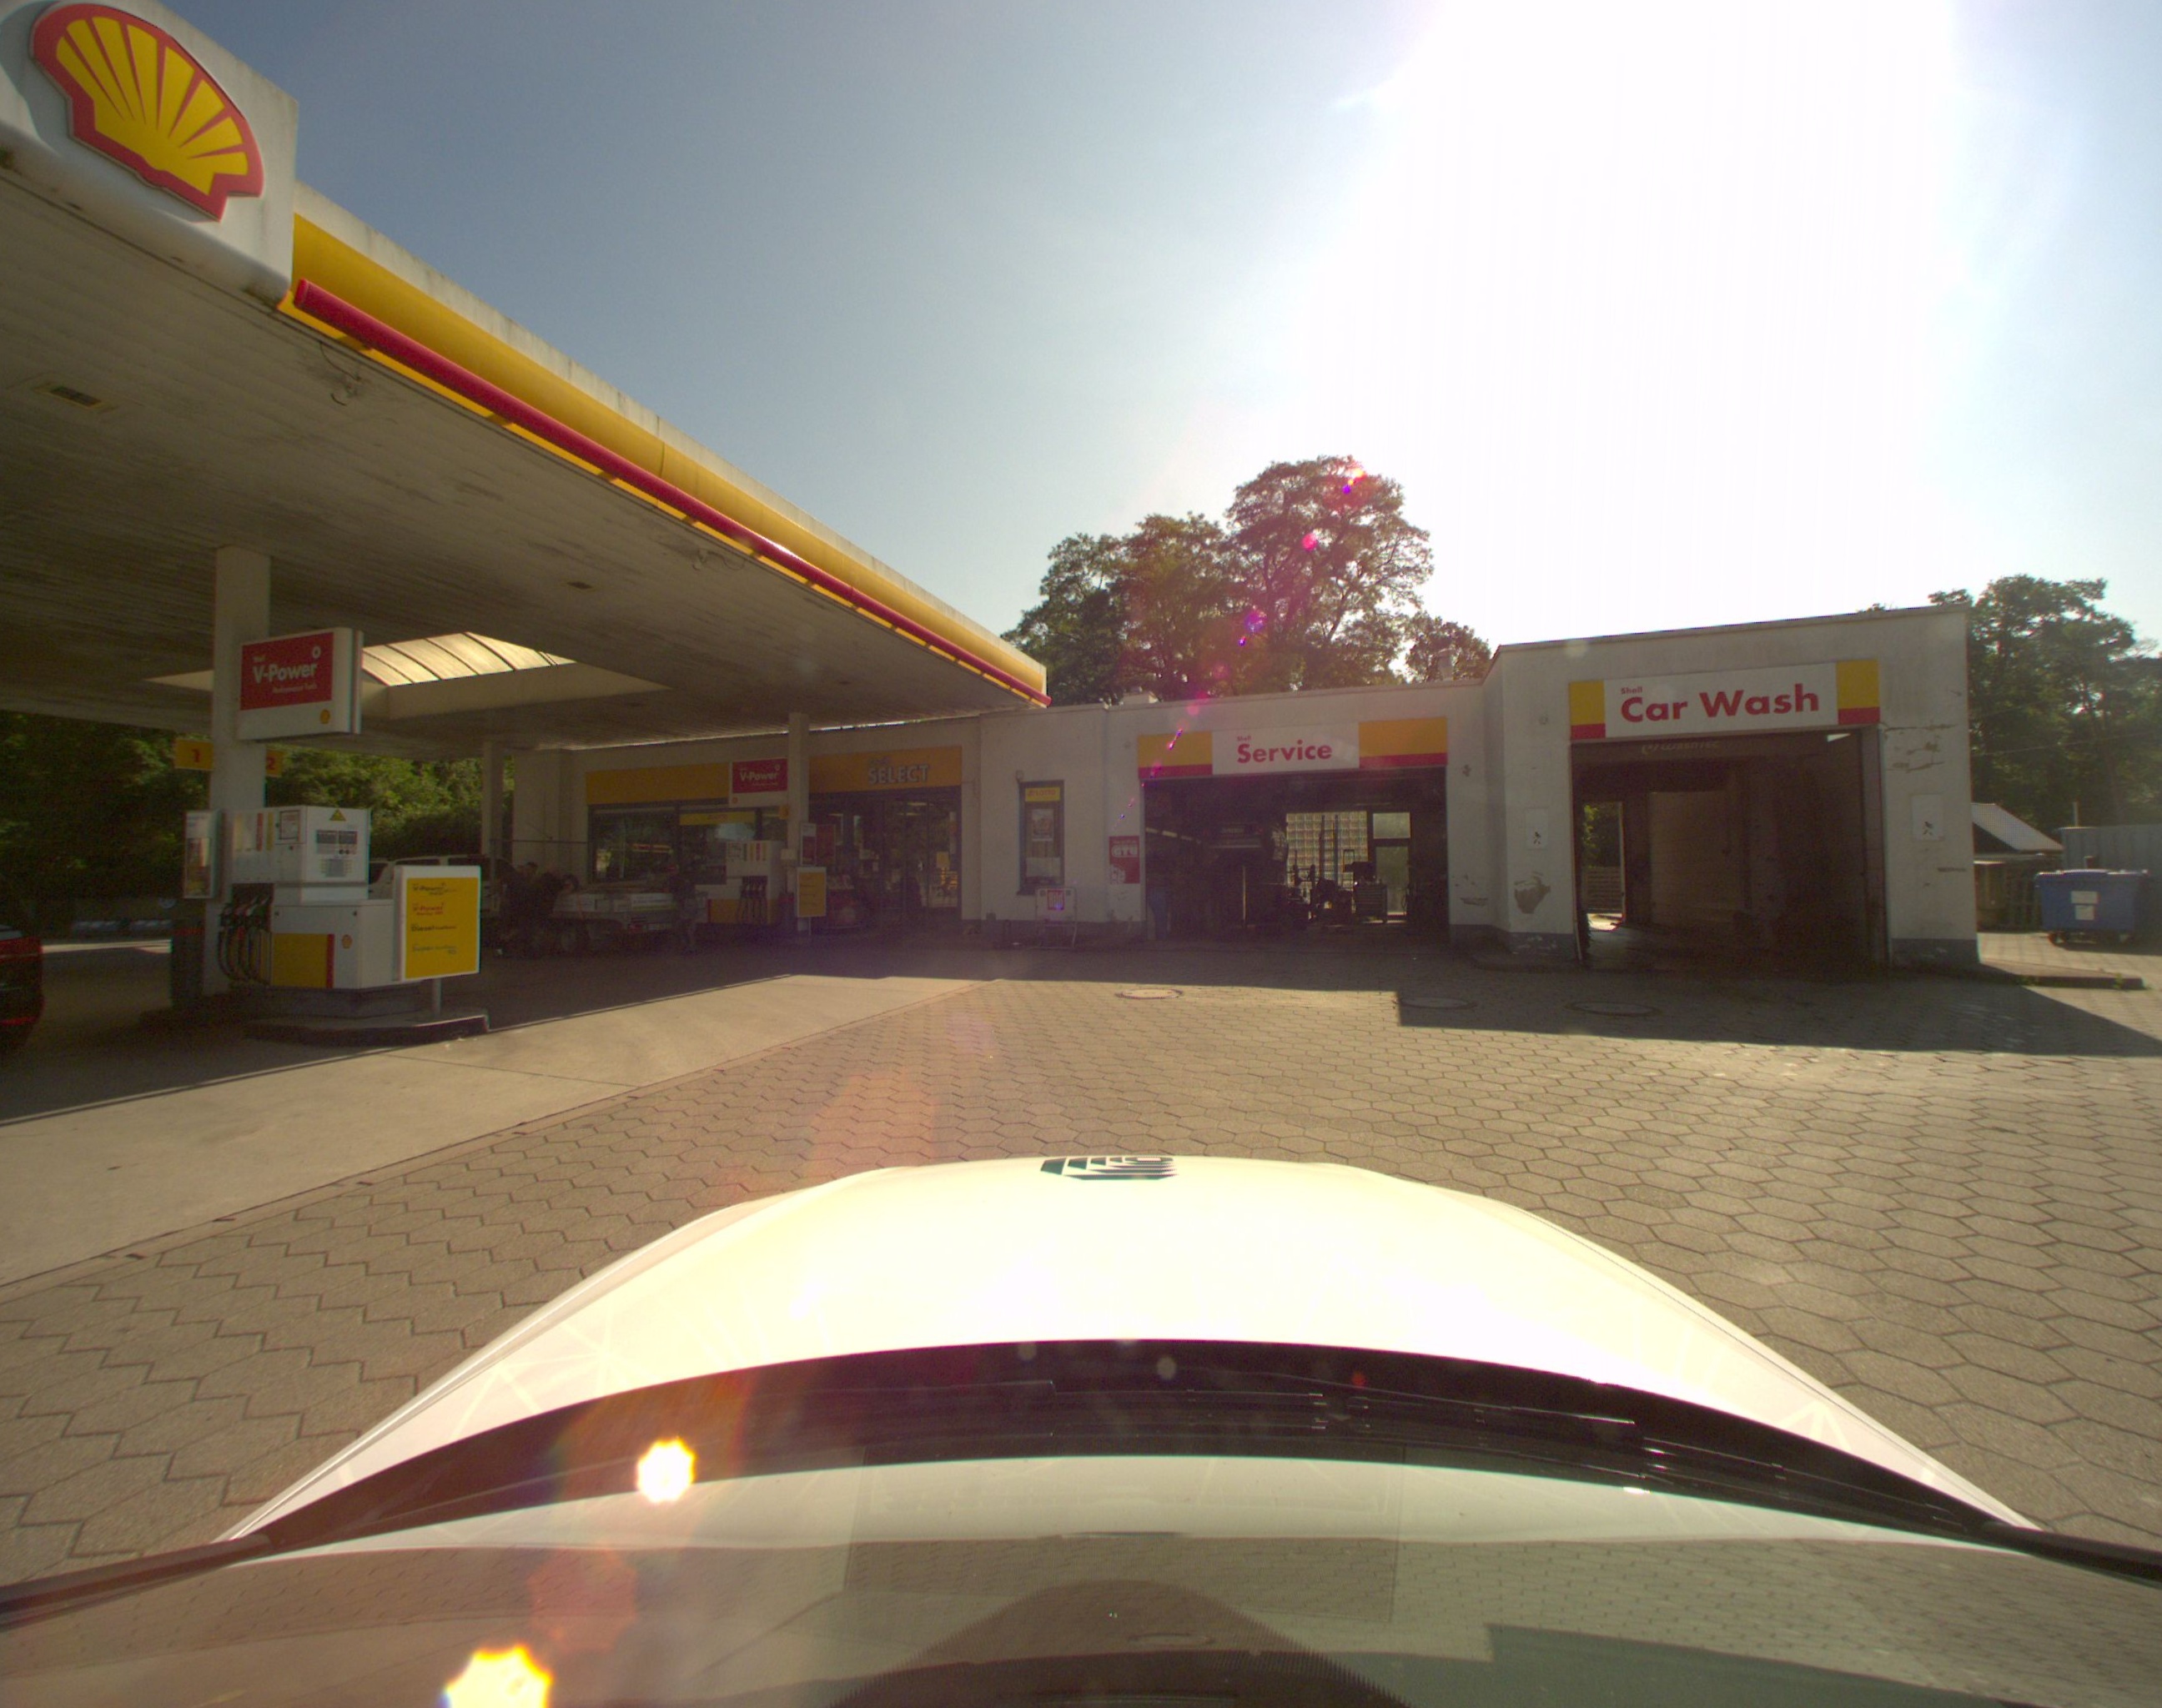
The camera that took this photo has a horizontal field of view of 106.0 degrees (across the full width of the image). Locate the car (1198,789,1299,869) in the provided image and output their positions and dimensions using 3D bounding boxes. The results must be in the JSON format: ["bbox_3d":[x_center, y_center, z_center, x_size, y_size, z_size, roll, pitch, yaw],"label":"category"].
[{"bbox_3d":[4.030,-0.484,19.127,1.632,1.486,4.020,-2,-4,21],"label":"car"}]

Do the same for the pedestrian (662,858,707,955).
[{"bbox_3d":[-6.985,0.917,14.359,0.495,1.668,0.478,-1,-2,20],"label":"pedestrian"}]

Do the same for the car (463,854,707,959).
[{"bbox_3d":[-9.116,0.944,14.985,3.952,1.728,1.843,-2,-2,23],"label":"car"}]

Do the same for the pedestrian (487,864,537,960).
[{"bbox_3d":[-9.819,0.987,14.060,0.470,1.632,0.503,-1,-2,23],"label":"pedestrian"}]

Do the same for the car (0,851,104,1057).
[{"bbox_3d":[-10.230,0.793,6.480,3.834,1.579,1.773,-1,-2,17],"label":"car"}]

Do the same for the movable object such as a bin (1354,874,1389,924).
[{"bbox_3d":[7.434,1.153,20.843,0.790,1.236,0.547,-2,-4,21],"label":"movable object such as a bin"}]

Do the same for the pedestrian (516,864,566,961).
[{"bbox_3d":[-9.063,0.973,13.673,0.470,1.593,0.503,-1,-2,23],"label":"pedestrian"}]

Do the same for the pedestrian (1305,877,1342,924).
[{"bbox_3d":[6.221,1.198,20.903,0.856,1.198,0.746,-2,-4,18],"label":"pedestrian"}]

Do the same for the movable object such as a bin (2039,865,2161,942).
[{"bbox_3d":[18.337,0.868,14.652,0.851,1.325,1.224,1,-2,-27],"label":"movable object such as a bin"}]

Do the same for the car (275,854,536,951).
[{"bbox_3d":[-14.024,0.982,16.953,4.727,1.838,1.865,-1,-2,17],"label":"car"}]
